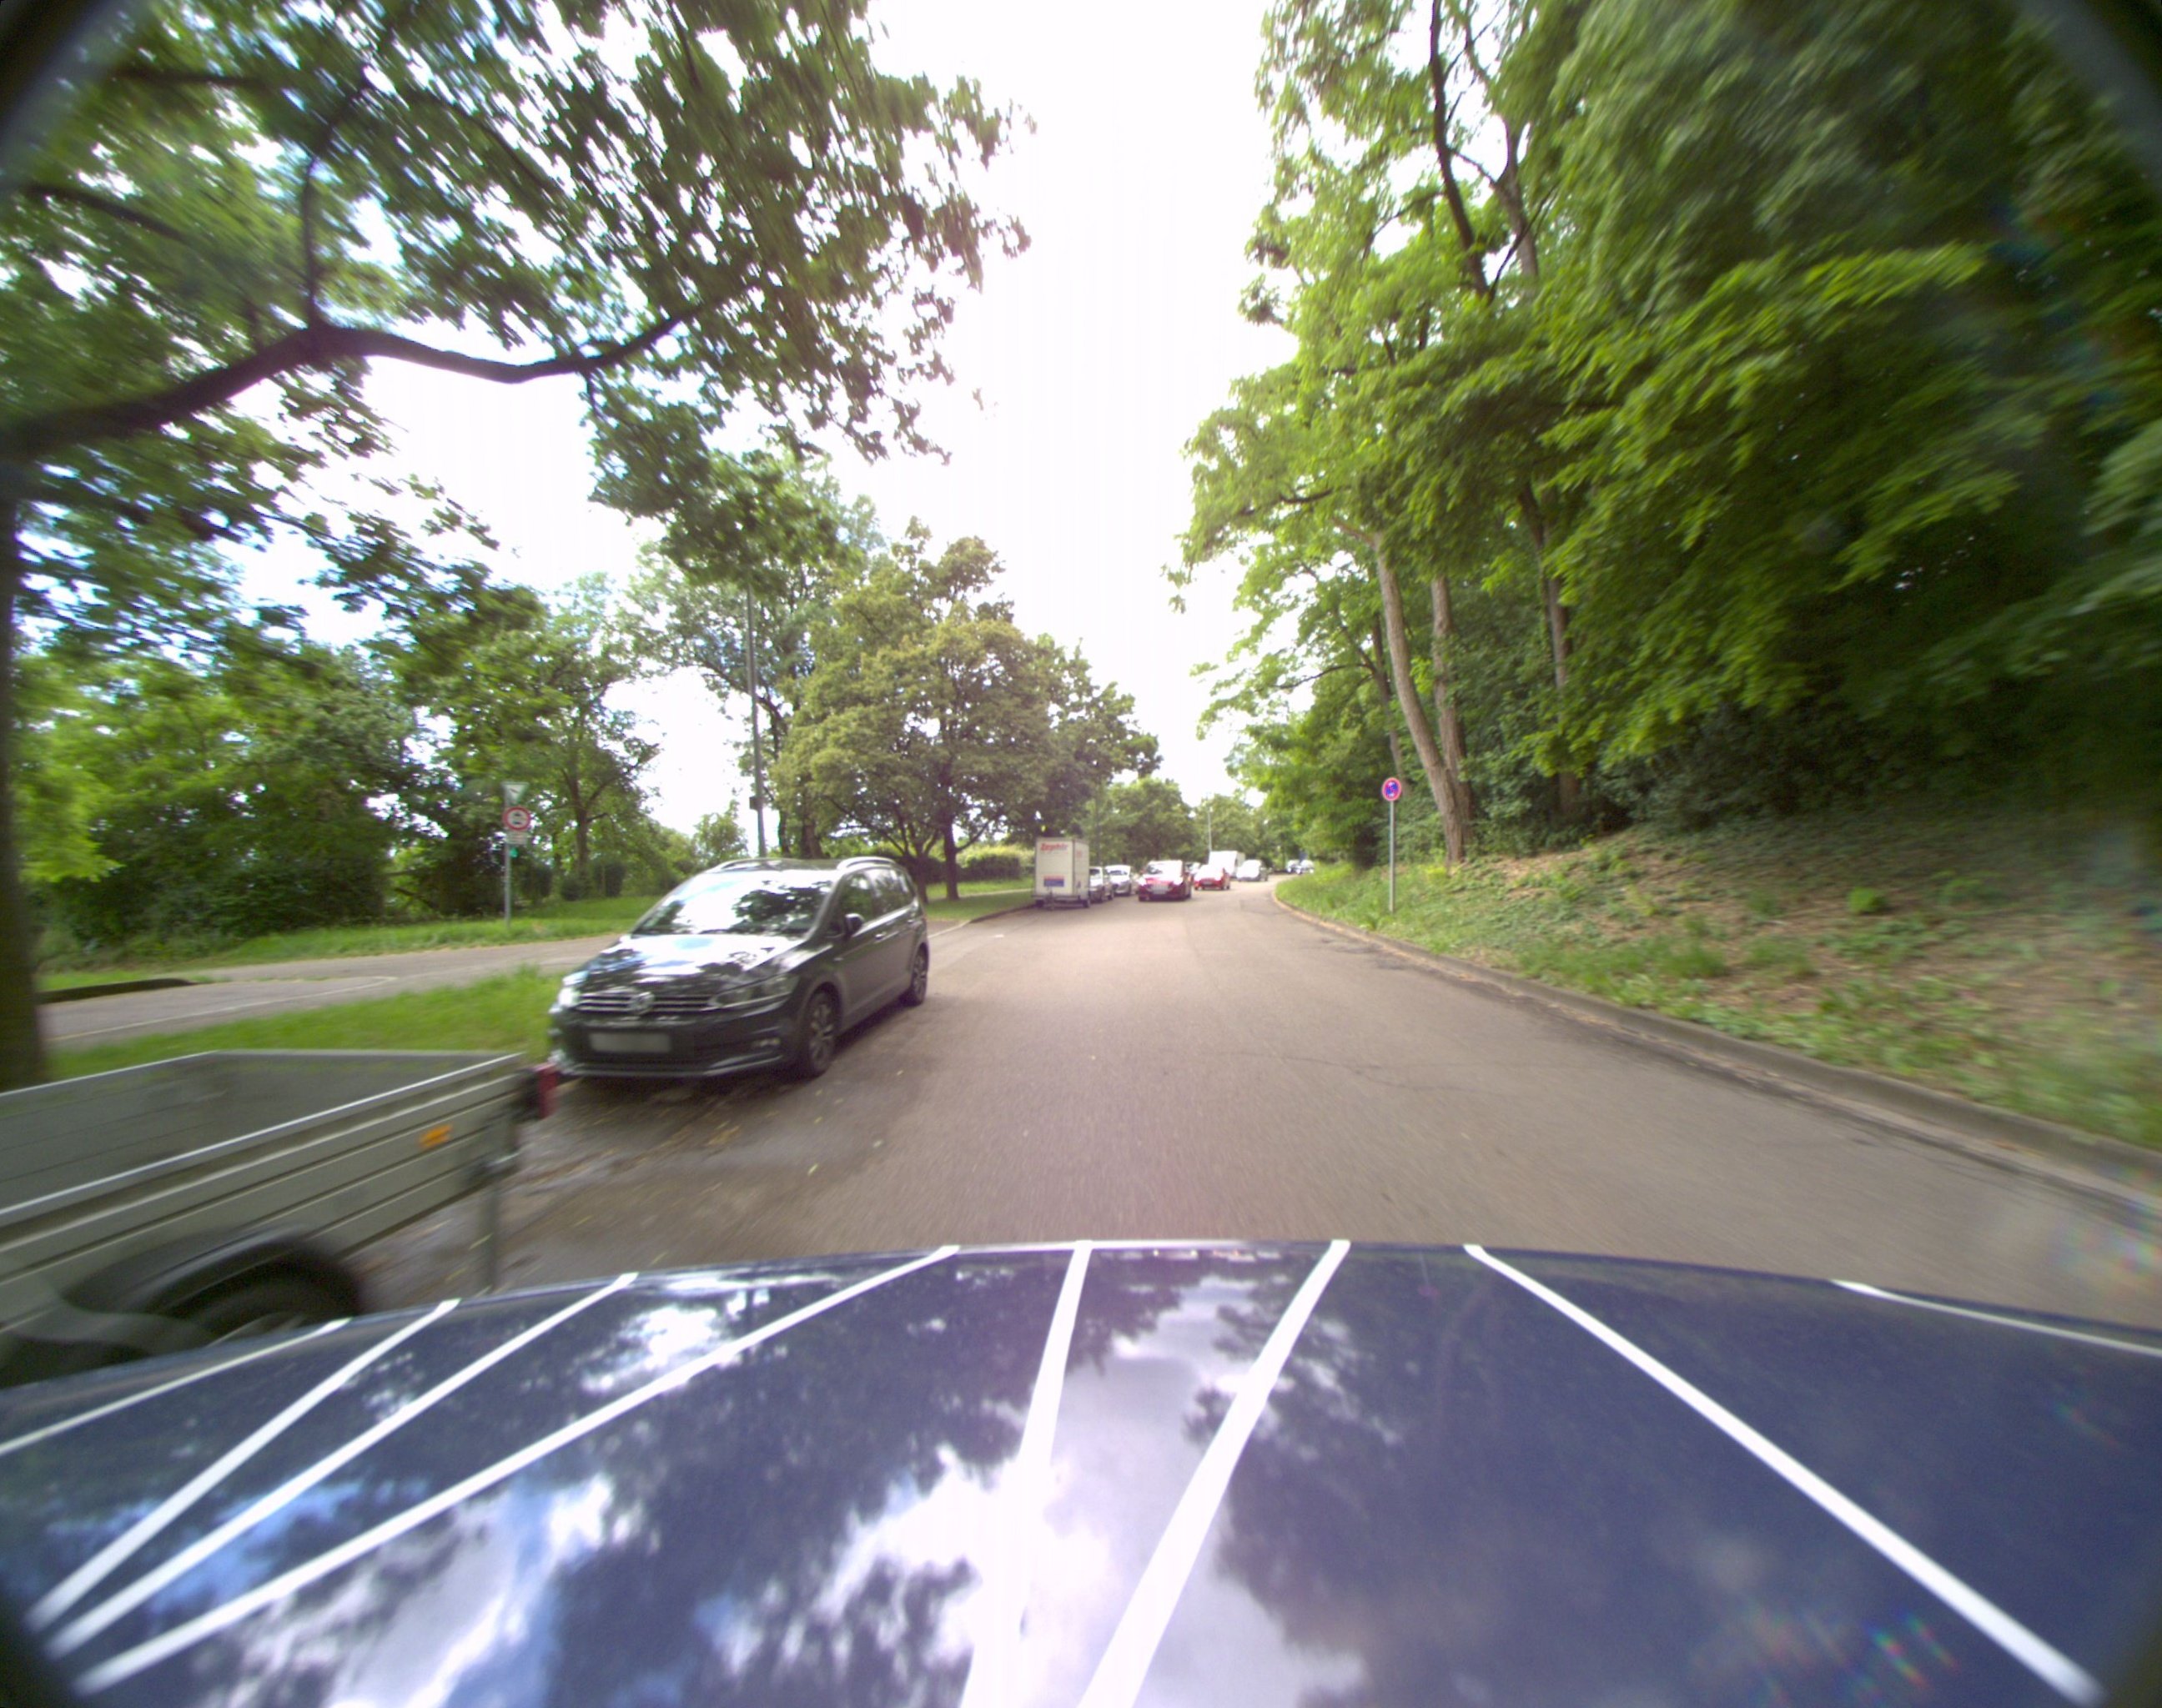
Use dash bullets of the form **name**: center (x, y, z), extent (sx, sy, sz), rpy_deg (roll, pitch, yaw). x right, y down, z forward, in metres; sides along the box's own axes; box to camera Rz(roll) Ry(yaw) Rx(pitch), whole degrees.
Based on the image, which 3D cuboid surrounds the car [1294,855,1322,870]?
- **car**: center (23.658, 0.911, 79.046), extent (1.800, 1.481, 4.008), rpy_deg (0, 0, 32)

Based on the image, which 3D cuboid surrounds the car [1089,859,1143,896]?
- **car**: center (1.787, 1.118, 37.702), extent (1.905, 1.468, 4.062), rpy_deg (-3, 1, 13)

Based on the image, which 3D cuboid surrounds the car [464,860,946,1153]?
- **car**: center (-2.732, 0.961, 7.052), extent (1.779, 1.653, 4.841), rpy_deg (-3, 0, 3)

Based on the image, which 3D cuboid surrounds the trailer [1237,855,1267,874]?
- **trailer**: center (16.905, 0.972, 74.972), extent (1.773, 1.721, 4.658), rpy_deg (0, 2, 28)

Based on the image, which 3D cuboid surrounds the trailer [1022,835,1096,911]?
- **trailer**: center (-0.672, 0.625, 26.173), extent (1.763, 2.412, 3.890), rpy_deg (-1, 0, 10)

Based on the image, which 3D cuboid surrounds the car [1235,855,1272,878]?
- **car**: center (14.394, 0.997, 63.182), extent (1.919, 1.672, 4.007), rpy_deg (0, 2, 30)

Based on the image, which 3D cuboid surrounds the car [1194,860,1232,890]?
- **car**: center (7.860, 1.217, 44.885), extent (1.865, 1.441, 4.179), rpy_deg (1, 3, 15)

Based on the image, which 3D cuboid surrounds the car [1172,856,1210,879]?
- **car**: center (8.384, 1.013, 57.485), extent (1.850, 1.633, 4.537), rpy_deg (-1, 0, 21)

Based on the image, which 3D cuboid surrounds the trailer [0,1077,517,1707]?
- **trailer**: center (-2.975, 1.340, 0.956), extent (1.360, 0.963, 3.894), rpy_deg (-3, -1, 5)

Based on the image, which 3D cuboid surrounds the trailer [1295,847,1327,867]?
- **trailer**: center (27.549, 0.348, 91.052), extent (2.107, 2.348, 4.712), rpy_deg (1, 0, 38)

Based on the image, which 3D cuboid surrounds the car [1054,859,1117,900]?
- **car**: center (0.273, 0.988, 31.547), extent (1.744, 1.516, 4.639), rpy_deg (-1, 0, 11)

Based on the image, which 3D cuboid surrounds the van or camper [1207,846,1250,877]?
- **van or camper**: center (13.177, 0.616, 67.507), extent (2.163, 2.521, 6.041), rpy_deg (-2, 0, 26)

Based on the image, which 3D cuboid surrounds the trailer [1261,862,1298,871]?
- **trailer**: center (21.484, 1.327, 82.111), extent (2.105, 0.647, 6.413), rpy_deg (-2, 0, 31)

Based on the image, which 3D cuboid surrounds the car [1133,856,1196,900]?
- **car**: center (3.593, 0.951, 31.884), extent (1.996, 1.619, 4.630), rpy_deg (-2, 0, 13)
